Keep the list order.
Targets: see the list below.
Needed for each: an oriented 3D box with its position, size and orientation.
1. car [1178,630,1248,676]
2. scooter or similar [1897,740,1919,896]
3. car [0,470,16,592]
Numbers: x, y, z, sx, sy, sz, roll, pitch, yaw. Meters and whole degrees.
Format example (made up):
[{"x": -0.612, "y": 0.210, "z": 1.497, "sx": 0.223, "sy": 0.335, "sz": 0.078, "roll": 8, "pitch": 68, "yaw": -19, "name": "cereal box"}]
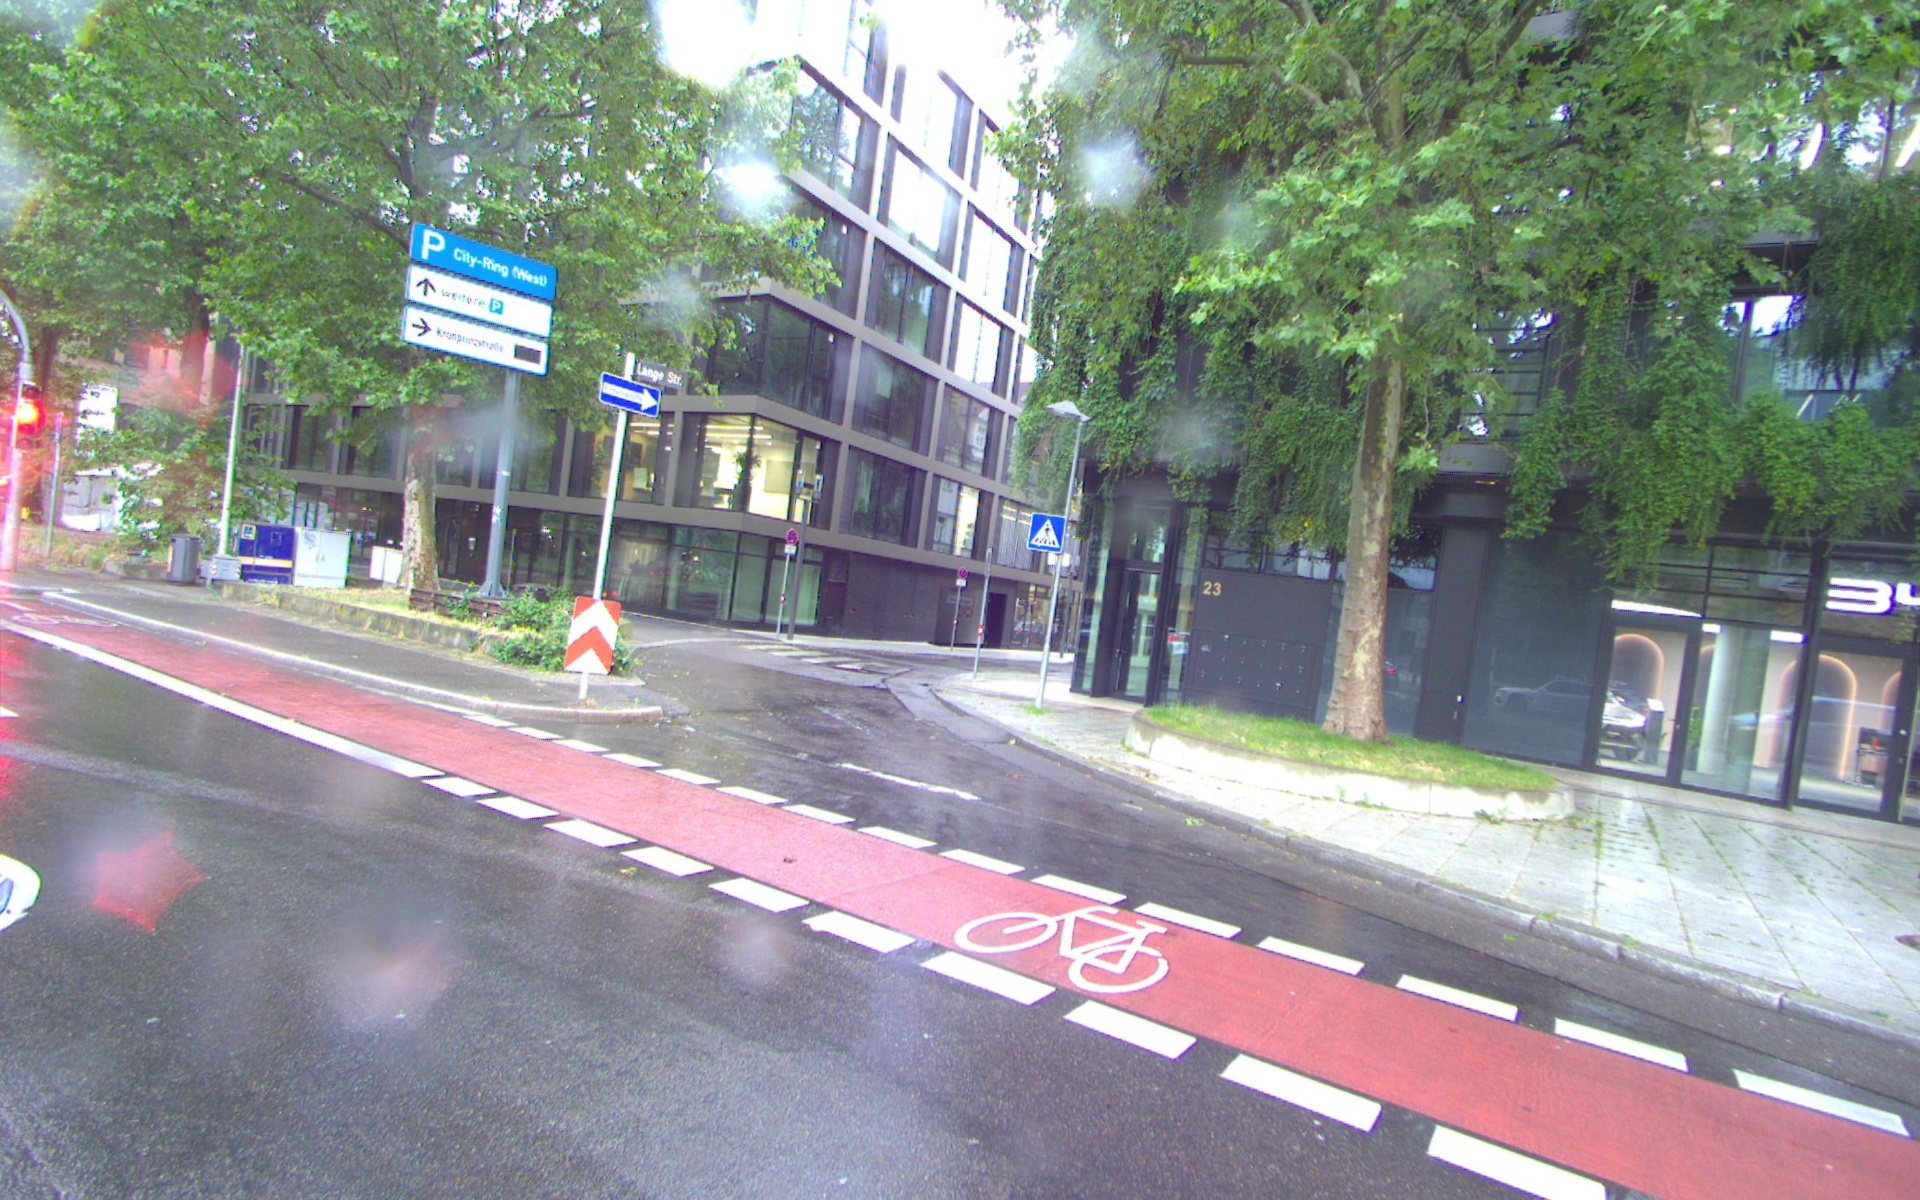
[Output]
[{"x": 11.101, "y": 2.357, "z": 43.946, "sx": 1.814, "sy": 1.607, "sz": 3.997, "roll": 6, "pitch": -2, "yaw": 30, "name": "car"}, {"x": 8.476, "y": 1.874, "z": 8.112, "sx": 0.528, "sy": 1.297, "sz": 1.183, "roll": 7, "pitch": -1, "yaw": -8, "name": "scooter or similar"}, {"x": -12.185, "y": -0.756, "z": 10.856, "sx": 3.935, "sy": 1.717, "sz": 1.881, "roll": 6, "pitch": -2, "yaw": 33, "name": "car"}]
